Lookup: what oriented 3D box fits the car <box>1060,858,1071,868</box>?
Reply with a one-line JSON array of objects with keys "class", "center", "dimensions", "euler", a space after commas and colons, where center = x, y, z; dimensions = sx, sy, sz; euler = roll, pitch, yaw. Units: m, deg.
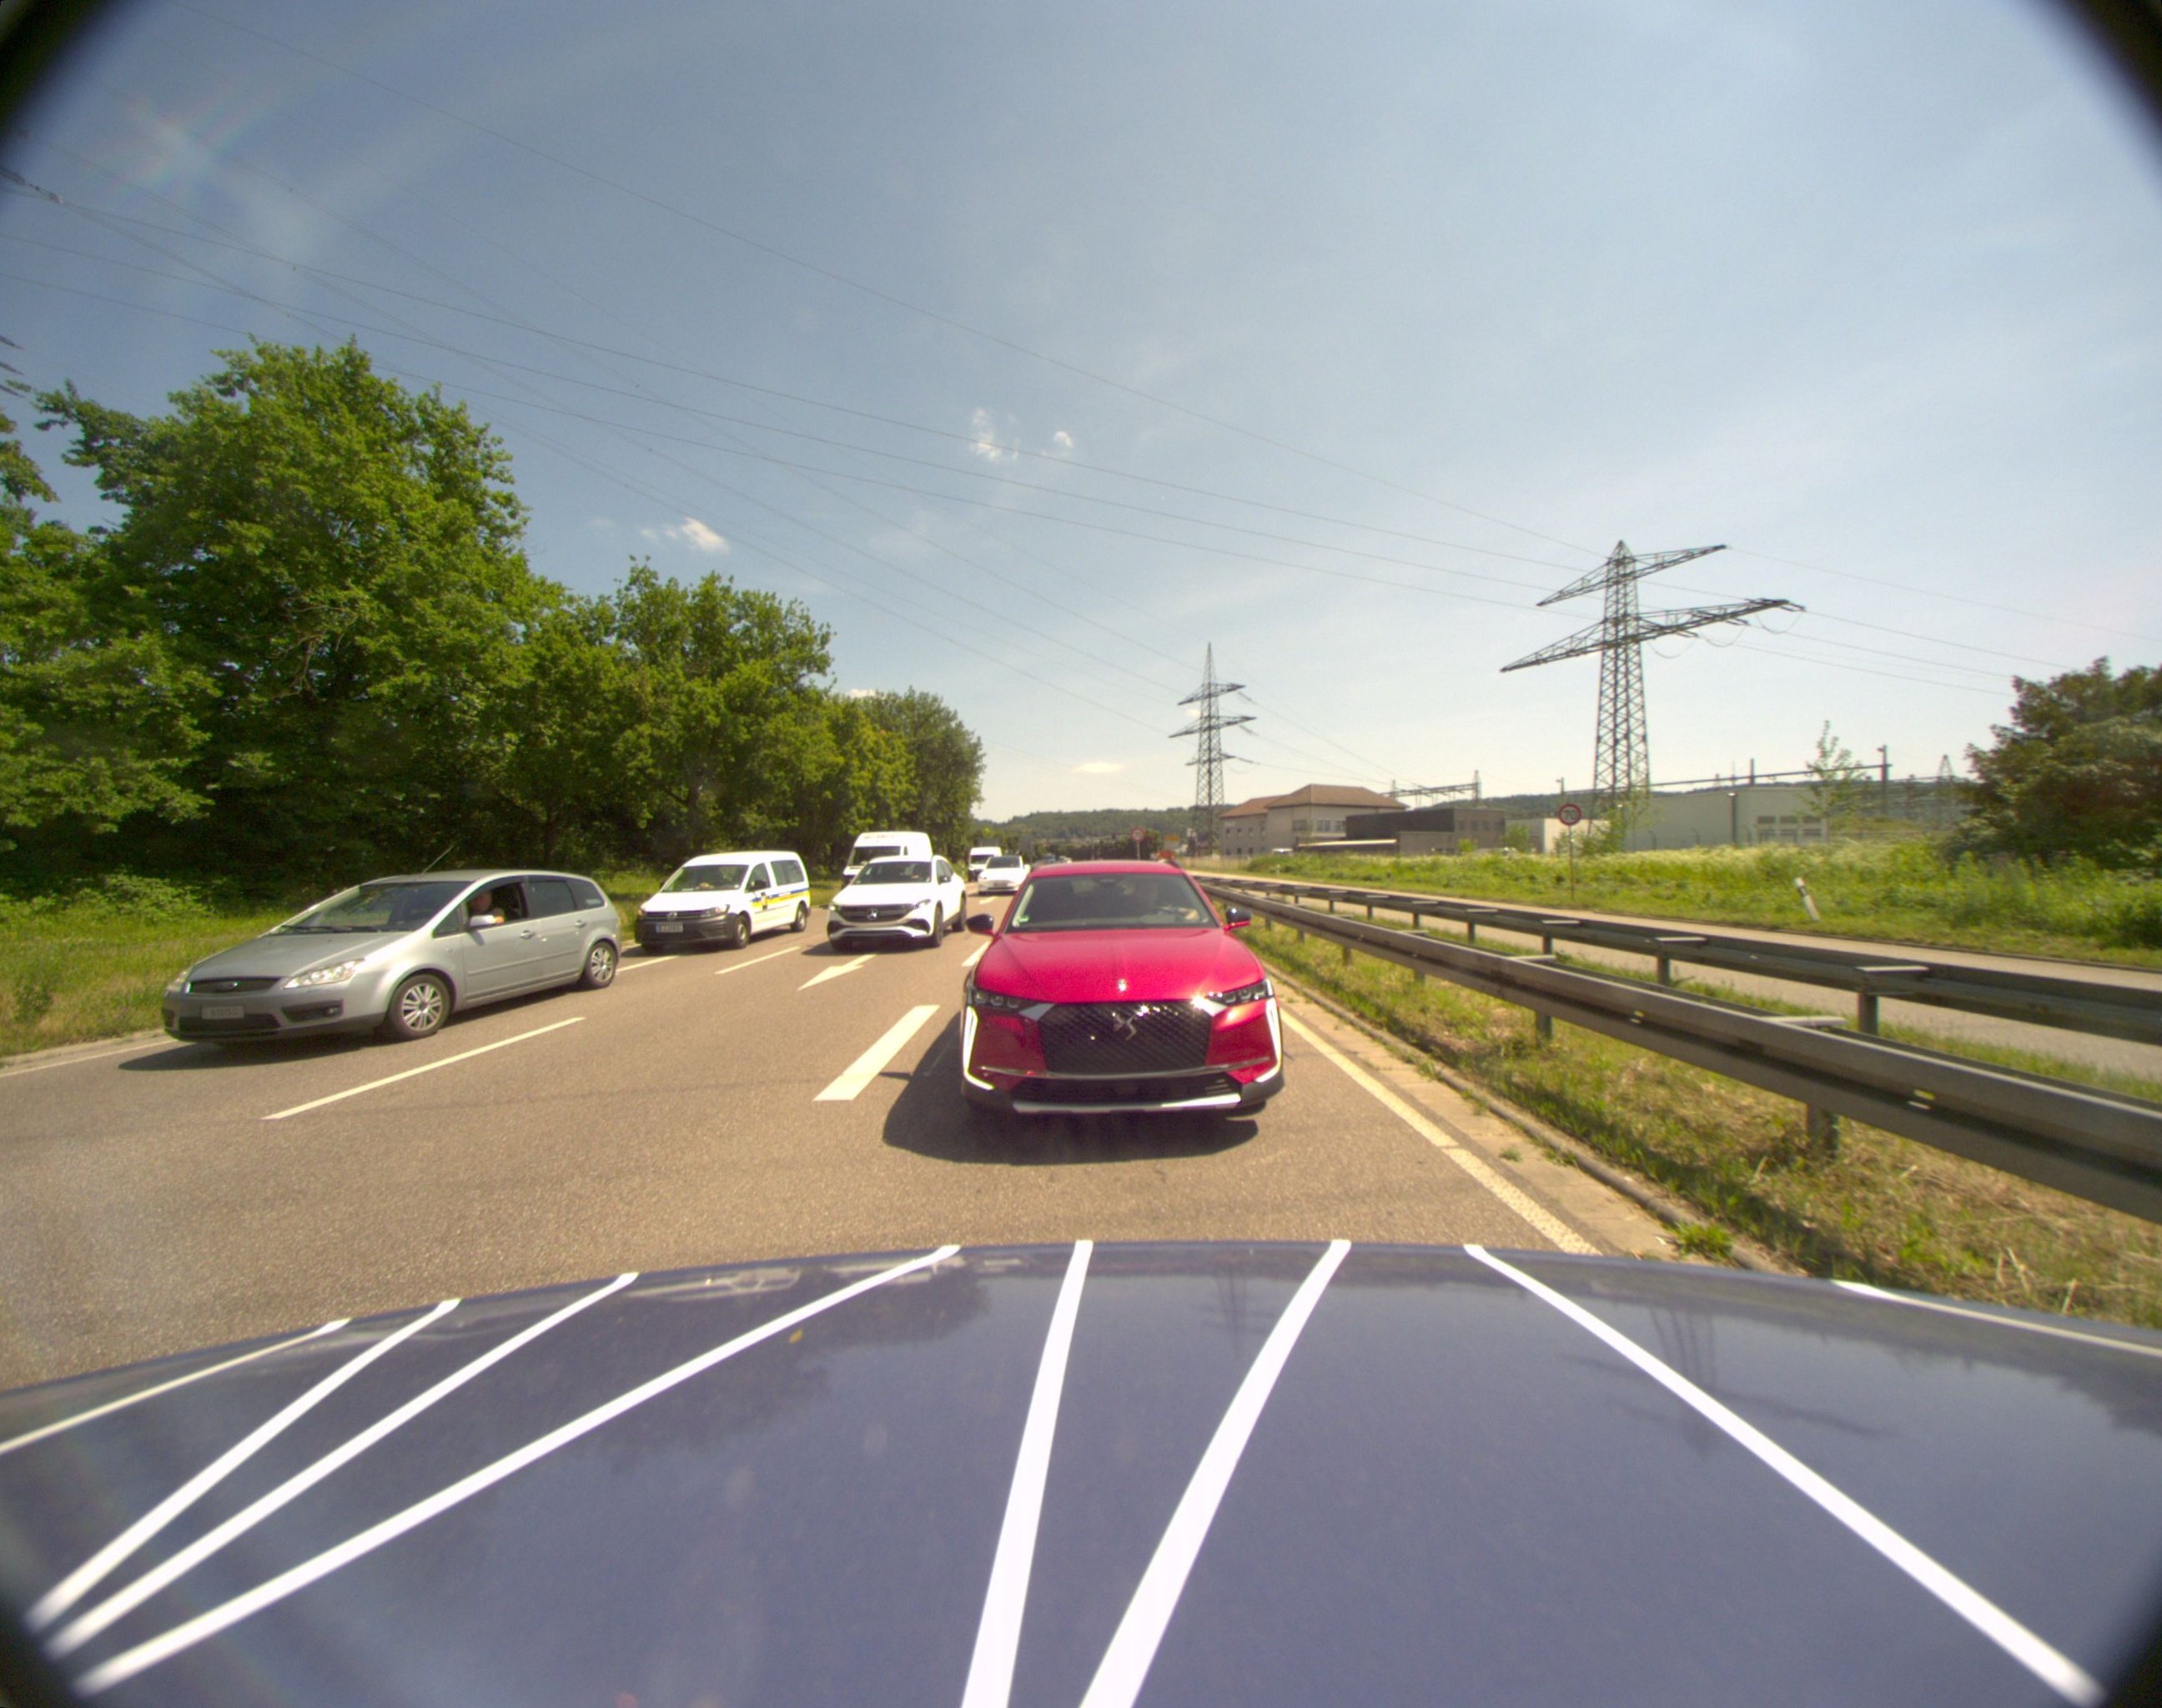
[{"class": "car", "center": [-2.765, 1.691, 138.120], "dimensions": [1.878, 1.674, 3.998], "euler": [-2, 1, -2]}]

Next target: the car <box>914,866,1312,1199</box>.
[{"class": "car", "center": [0.180, 0.885, 5.822], "dimensions": [1.846, 1.453, 4.414], "euler": [-2, 0, 1]}]

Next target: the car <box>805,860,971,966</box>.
[{"class": "car", "center": [-3.340, 0.947, 14.067], "dimensions": [1.850, 1.559, 4.363], "euler": [-2, 0, 1]}]

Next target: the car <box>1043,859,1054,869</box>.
[{"class": "car", "center": [-6.343, 1.970, 149.048], "dimensions": [1.998, 1.808, 3.999], "euler": [-2, 1, 1]}]

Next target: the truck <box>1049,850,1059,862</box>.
[{"class": "truck", "center": [-6.114, 0.471, 171.532], "dimensions": [2.170, 2.428, 4.909], "euler": [-2, 1, -2]}]

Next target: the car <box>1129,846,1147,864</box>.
[{"class": "car", "center": [9.751, 0.230, 130.330], "dimensions": [2.607, 3.043, 5.638], "euler": [0, 0, 0]}]

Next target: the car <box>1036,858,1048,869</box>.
[{"class": "car", "center": [-6.576, 1.643, 128.791], "dimensions": [1.878, 1.674, 3.998], "euler": [-2, 1, -2]}]

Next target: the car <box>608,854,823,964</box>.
[{"class": "car", "center": [-6.978, 0.923, 15.249], "dimensions": [1.809, 1.790, 5.037], "euler": [-2, 0, 0]}]

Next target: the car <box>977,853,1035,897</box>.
[{"class": "car", "center": [-3.085, 0.814, 32.055], "dimensions": [2.022, 1.671, 3.999], "euler": [-2, 0, -1]}]

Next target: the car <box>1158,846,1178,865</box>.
[{"class": "car", "center": [14.338, 0.229, 125.770], "dimensions": [2.607, 3.043, 5.638], "euler": [0, 0, 0]}]

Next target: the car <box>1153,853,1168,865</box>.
[{"class": "car", "center": [14.159, 0.879, 135.518], "dimensions": [1.999, 1.904, 3.998], "euler": [-2, 1, -3]}]

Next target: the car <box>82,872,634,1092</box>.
[{"class": "car", "center": [-6.980, 1.064, 8.154], "dimensions": [1.747, 1.585, 4.272], "euler": [-2, 0, 1]}]

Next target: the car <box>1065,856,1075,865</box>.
[{"class": "car", "center": [-2.214, 1.306, 153.761], "dimensions": [1.998, 1.752, 4.000], "euler": [0, 0, 2]}]

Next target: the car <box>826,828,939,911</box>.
[{"class": "car", "center": [-7.094, 0.502, 28.118], "dimensions": [2.232, 2.592, 7.018], "euler": [-2, 0, 0]}]

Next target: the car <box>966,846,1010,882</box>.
[{"class": "car", "center": [-6.726, 0.681, 55.616], "dimensions": [2.308, 2.408, 5.814], "euler": [-2, 0, 1]}]
